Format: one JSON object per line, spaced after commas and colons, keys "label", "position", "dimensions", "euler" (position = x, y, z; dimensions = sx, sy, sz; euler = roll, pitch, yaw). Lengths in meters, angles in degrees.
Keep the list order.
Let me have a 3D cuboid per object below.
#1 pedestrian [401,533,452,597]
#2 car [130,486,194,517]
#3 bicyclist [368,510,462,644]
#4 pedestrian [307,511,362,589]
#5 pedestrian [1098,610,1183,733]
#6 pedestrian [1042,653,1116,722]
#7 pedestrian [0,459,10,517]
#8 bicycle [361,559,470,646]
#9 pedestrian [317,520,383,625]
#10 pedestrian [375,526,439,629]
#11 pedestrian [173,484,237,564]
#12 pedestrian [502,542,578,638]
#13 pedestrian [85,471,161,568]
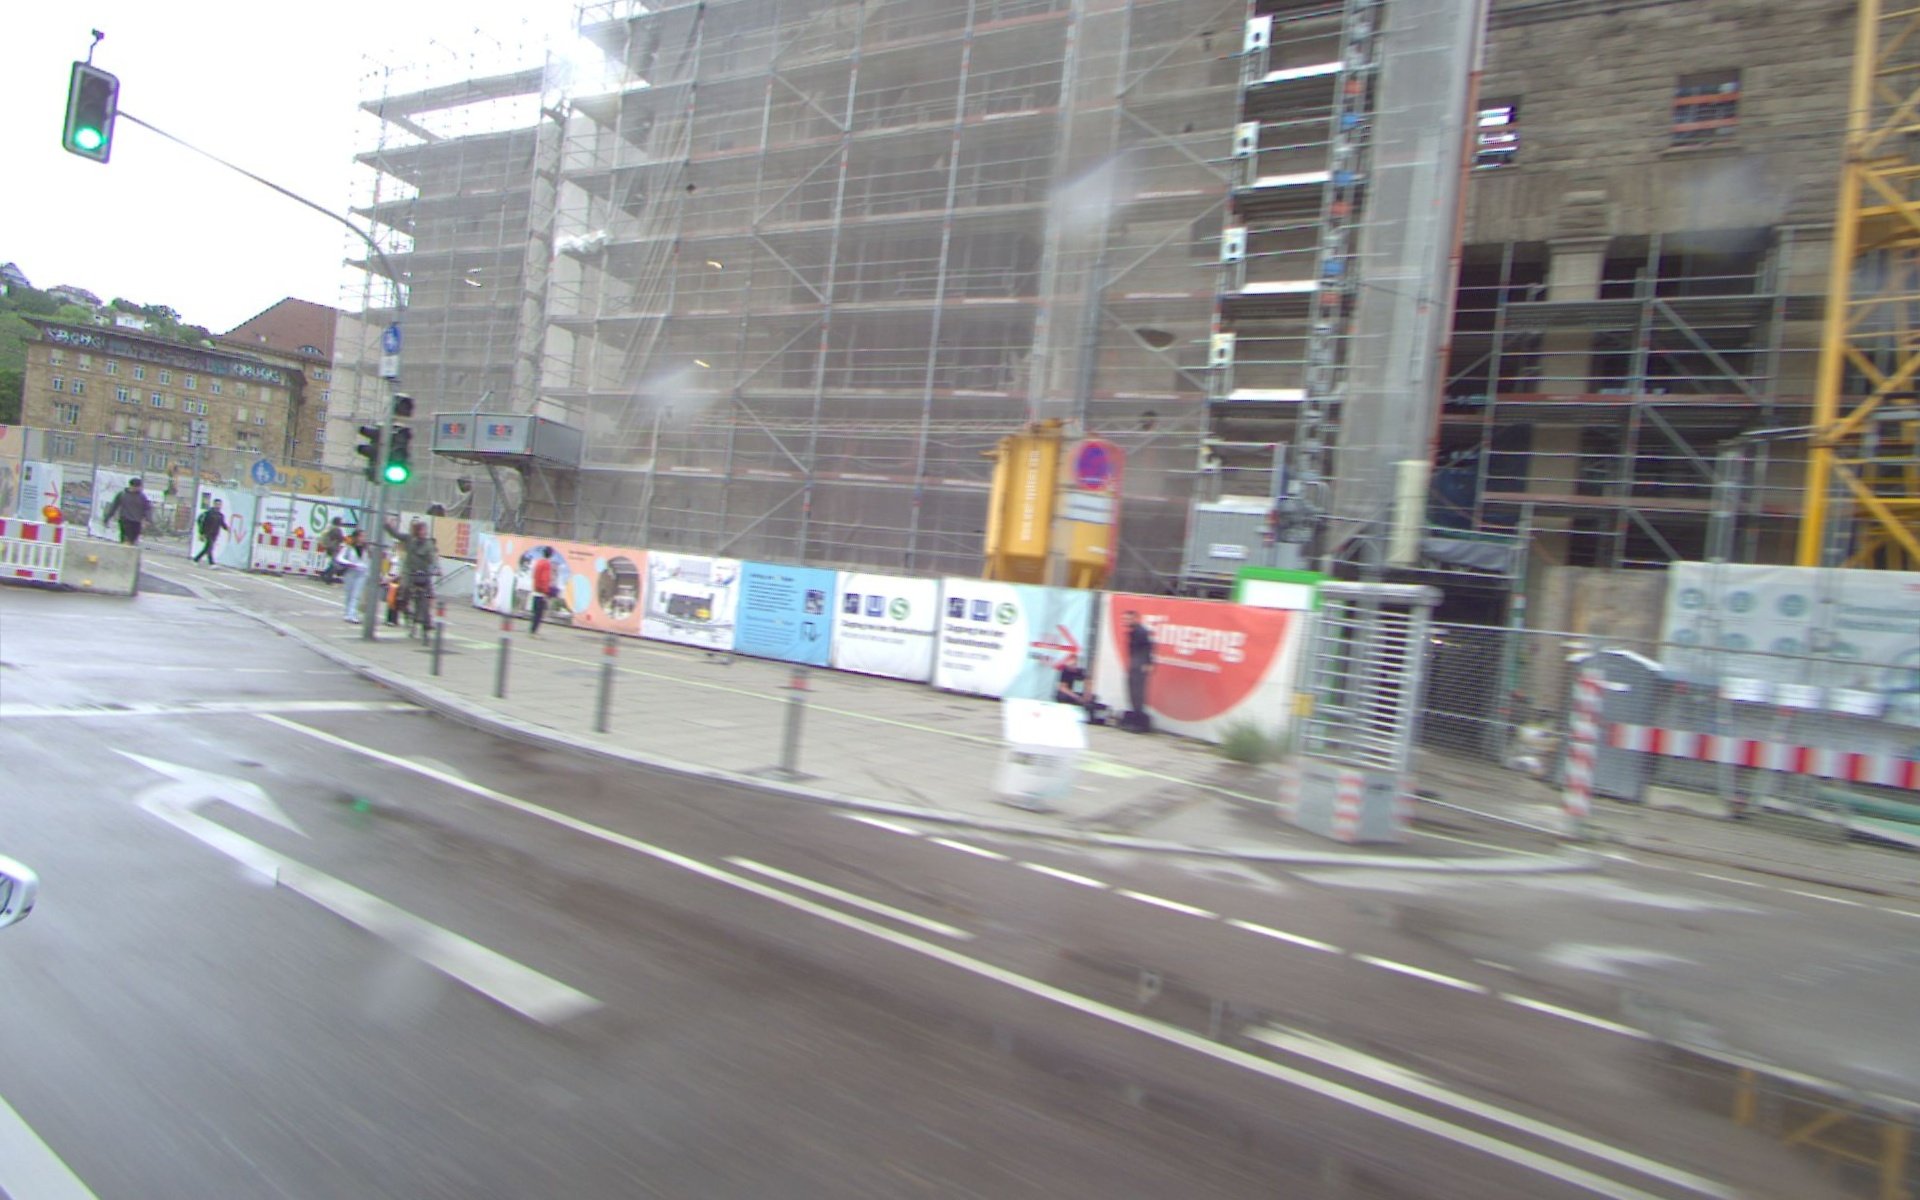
{"label": "pedestrian", "position": [-15.123, -0.982, 28.509], "dimensions": [0.784, 1.682, 0.865], "euler": [7, 1, 32]}
{"label": "car", "position": [-70.714, -8.699, 89.172], "dimensions": [1.971, 2.039, 3.983], "euler": [7, 1, 39]}
{"label": "bicyclist", "position": [-8.183, -0.348, 15.114], "dimensions": [0.952, 1.867, 0.704], "euler": [7, 0, 34]}
{"label": "pedestrian", "position": [-16.023, -1.268, 25.780], "dimensions": [0.785, 1.864, 0.863], "euler": [8, 2, 39]}
{"label": "pedestrian", "position": [2.671, 1.056, 14.878], "dimensions": [0.701, 1.694, 0.788], "euler": [6, 2, -40]}
{"label": "pedestrian", "position": [1.849, 1.359, 15.686], "dimensions": [0.792, 0.952, 0.709], "euler": [6, 1, -42]}
{"label": "pedestrian", "position": [-31.371, -3.667, 32.283], "dimensions": [0.852, 1.864, 0.948], "euler": [7, 1, 26]}
{"label": "bicycle", "position": [-8.170, 0.004, 15.081], "dimensions": [1.777, 1.066, 0.705], "euler": [8, 8, 34]}
{"label": "pedestrian", "position": [-10.194, -0.468, 16.819], "dimensions": [0.789, 1.628, 0.829], "euler": [6, 1, -32]}
{"label": "pedestrian", "position": [-9.401, -0.383, 17.102], "dimensions": [0.789, 1.628, 0.829], "euler": [6, 1, -31]}
{"label": "pedestrian", "position": [-18.776, -1.868, 25.040], "dimensions": [0.854, 1.864, 0.945], "euler": [6, 1, -18]}
{"label": "pedestrian", "position": [-7.717, -0.174, 18.494], "dimensions": [0.847, 1.628, 0.770], "euler": [7, 1, 15]}
{"label": "pedestrian", "position": [-17.437, -1.665, 20.980], "dimensions": [0.939, 1.864, 0.939], "euler": [6, 1, -30]}
